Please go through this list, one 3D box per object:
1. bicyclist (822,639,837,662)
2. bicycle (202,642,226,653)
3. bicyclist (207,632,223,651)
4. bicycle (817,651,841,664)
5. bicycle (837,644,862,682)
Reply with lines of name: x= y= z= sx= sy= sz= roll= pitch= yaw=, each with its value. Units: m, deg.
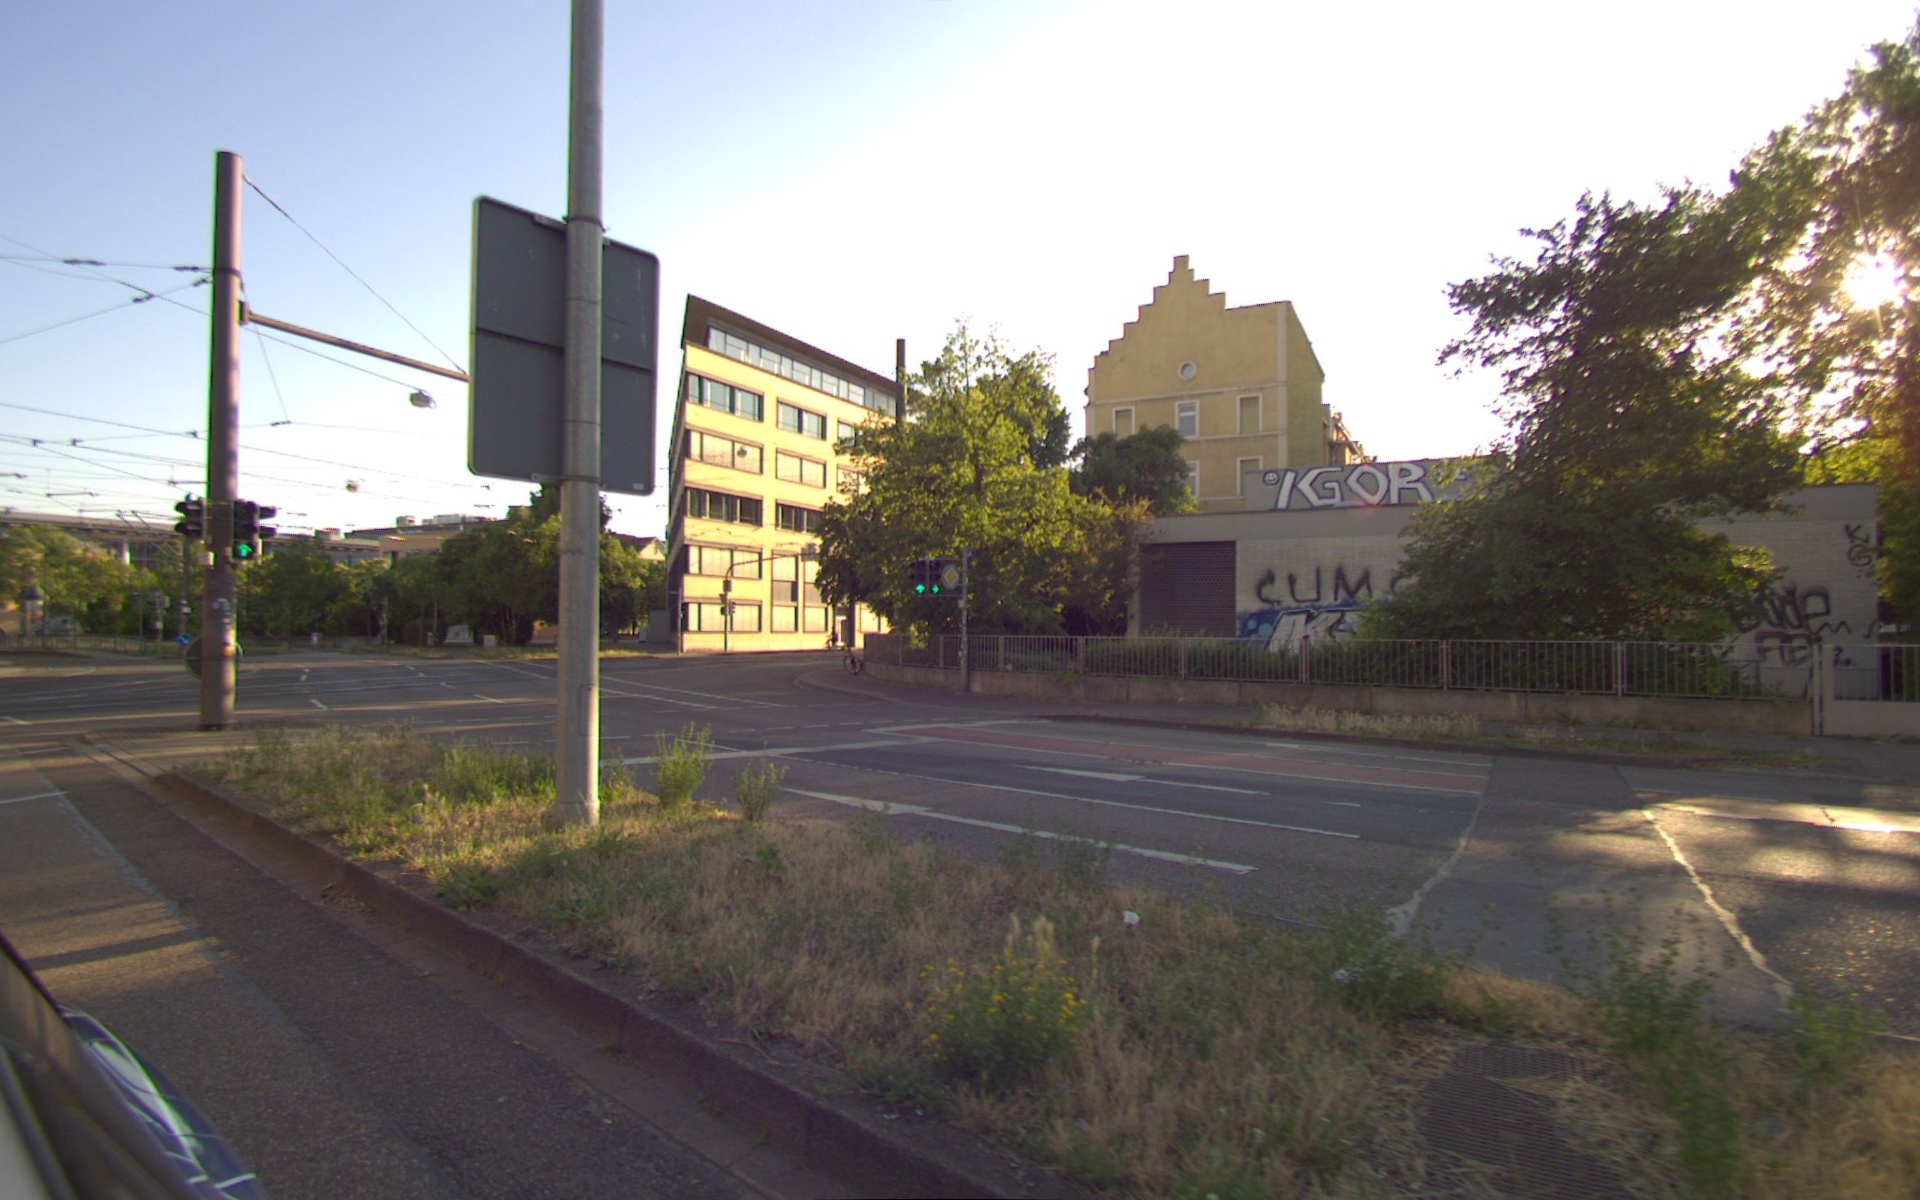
bicyclist: x=-8.305 y=3.223 z=64.545 sx=0.664 sy=1.464 sz=0.736 roll=-1 pitch=-3 yaw=28
bicycle: x=-57.461 y=3.657 z=77.976 sx=1.958 sy=0.827 sz=0.768 roll=-1 pitch=-2 yaw=31
bicyclist: x=-57.366 y=3.189 z=77.939 sx=0.824 sy=1.479 sz=0.762 roll=-1 pitch=-2 yaw=30
bicycle: x=-8.329 y=3.650 z=64.486 sx=0.655 sy=0.839 sz=1.675 roll=-1 pitch=-3 yaw=28
bicycle: x=-3.522 y=1.973 z=32.108 sx=0.550 sy=1.151 sz=1.726 roll=0 pitch=-2 yaw=-14
